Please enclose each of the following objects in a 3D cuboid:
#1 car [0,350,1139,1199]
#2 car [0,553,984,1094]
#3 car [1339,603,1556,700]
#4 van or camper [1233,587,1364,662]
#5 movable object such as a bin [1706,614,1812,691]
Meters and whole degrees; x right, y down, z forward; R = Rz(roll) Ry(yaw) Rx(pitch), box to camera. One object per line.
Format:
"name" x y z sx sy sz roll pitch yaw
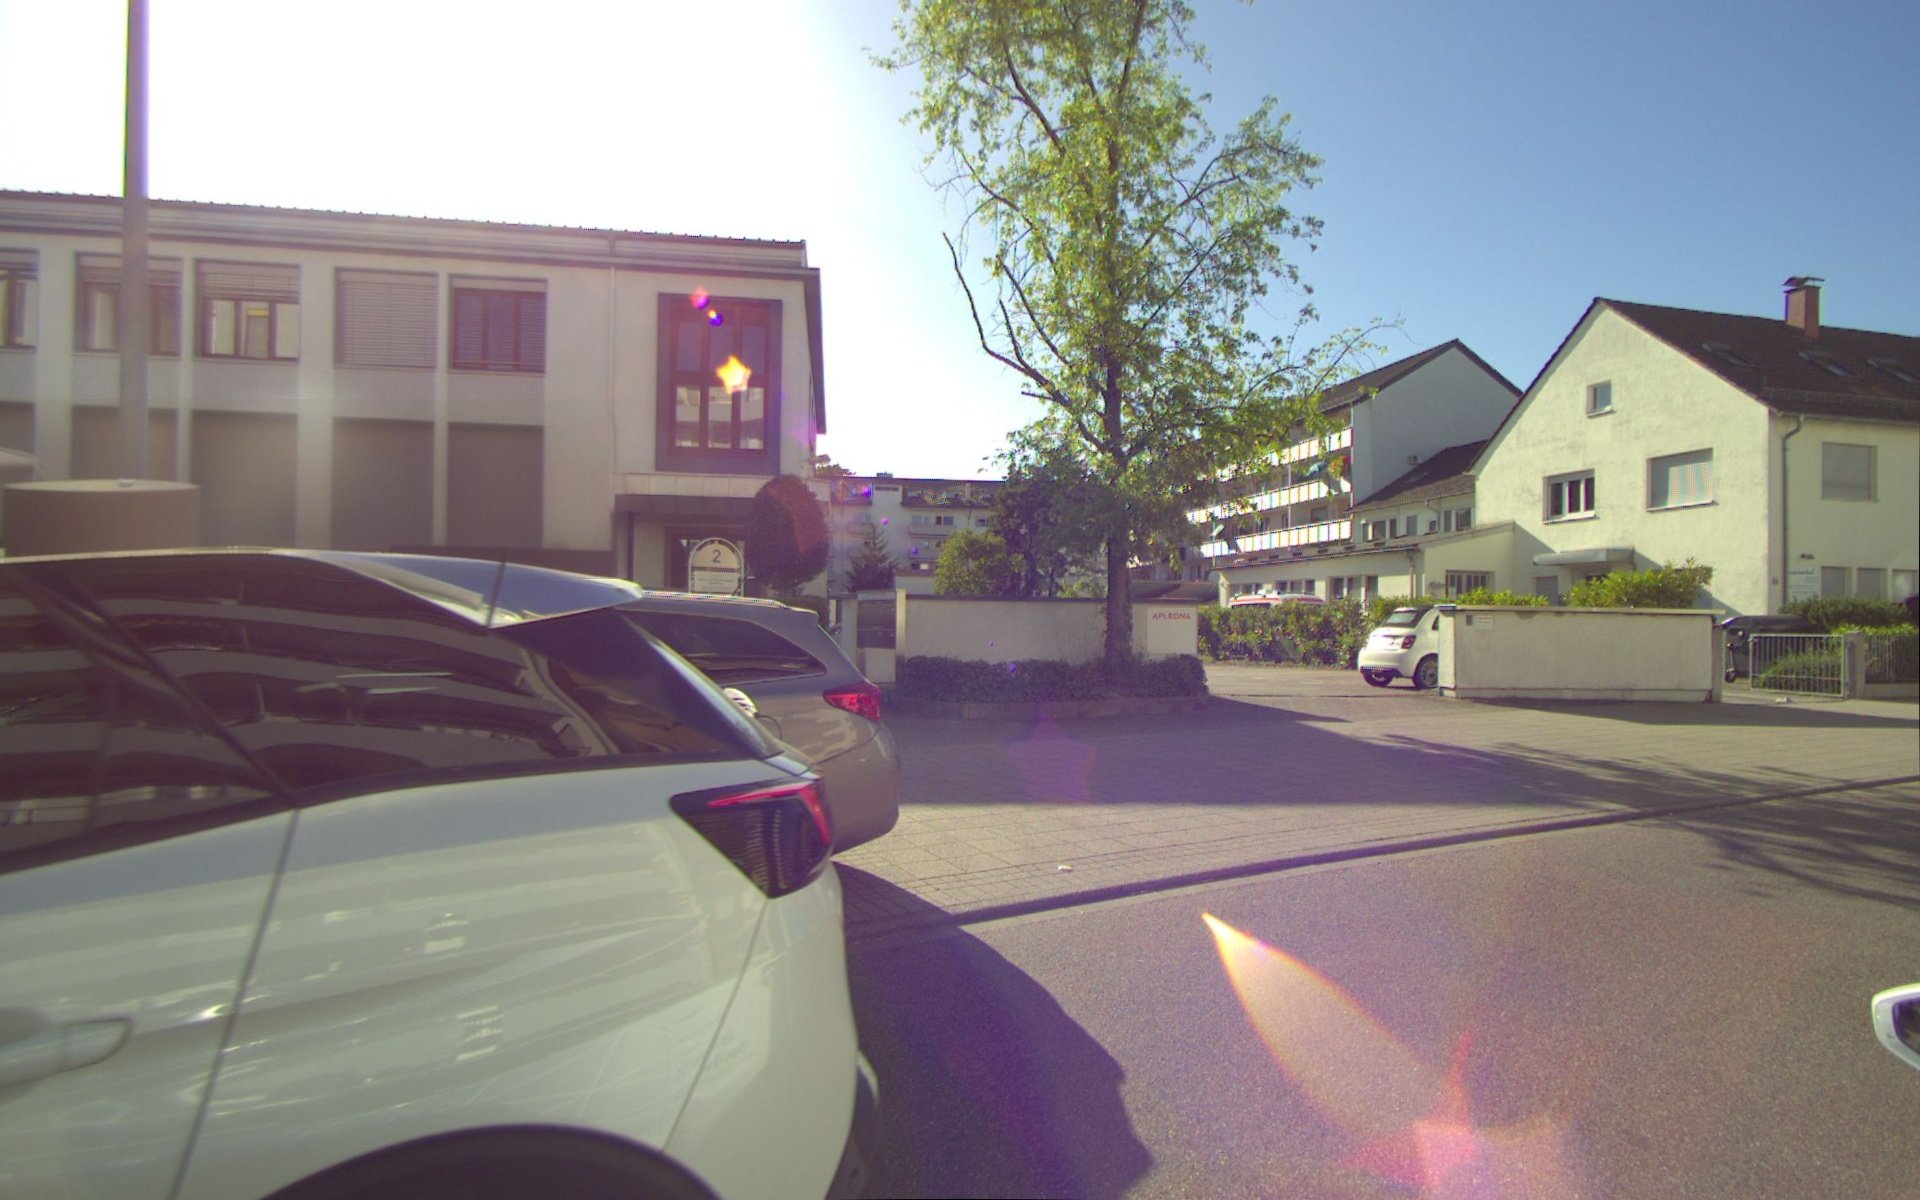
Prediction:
"car" -2.037 0.612 1.189 4.293 1.747 1.907 4 -3 -34
"car" -2.442 0.668 4.303 4.867 1.555 1.981 1 -1 -34
"car" 8.981 0.950 18.638 3.131 1.576 1.803 3 -2 -10
"van or camper" 11.968 0.928 35.974 2.112 2.429 5.226 2 -3 -11
"movable object such as a bin" 16.877 1.100 21.239 1.207 1.509 1.282 3 -2 -16
